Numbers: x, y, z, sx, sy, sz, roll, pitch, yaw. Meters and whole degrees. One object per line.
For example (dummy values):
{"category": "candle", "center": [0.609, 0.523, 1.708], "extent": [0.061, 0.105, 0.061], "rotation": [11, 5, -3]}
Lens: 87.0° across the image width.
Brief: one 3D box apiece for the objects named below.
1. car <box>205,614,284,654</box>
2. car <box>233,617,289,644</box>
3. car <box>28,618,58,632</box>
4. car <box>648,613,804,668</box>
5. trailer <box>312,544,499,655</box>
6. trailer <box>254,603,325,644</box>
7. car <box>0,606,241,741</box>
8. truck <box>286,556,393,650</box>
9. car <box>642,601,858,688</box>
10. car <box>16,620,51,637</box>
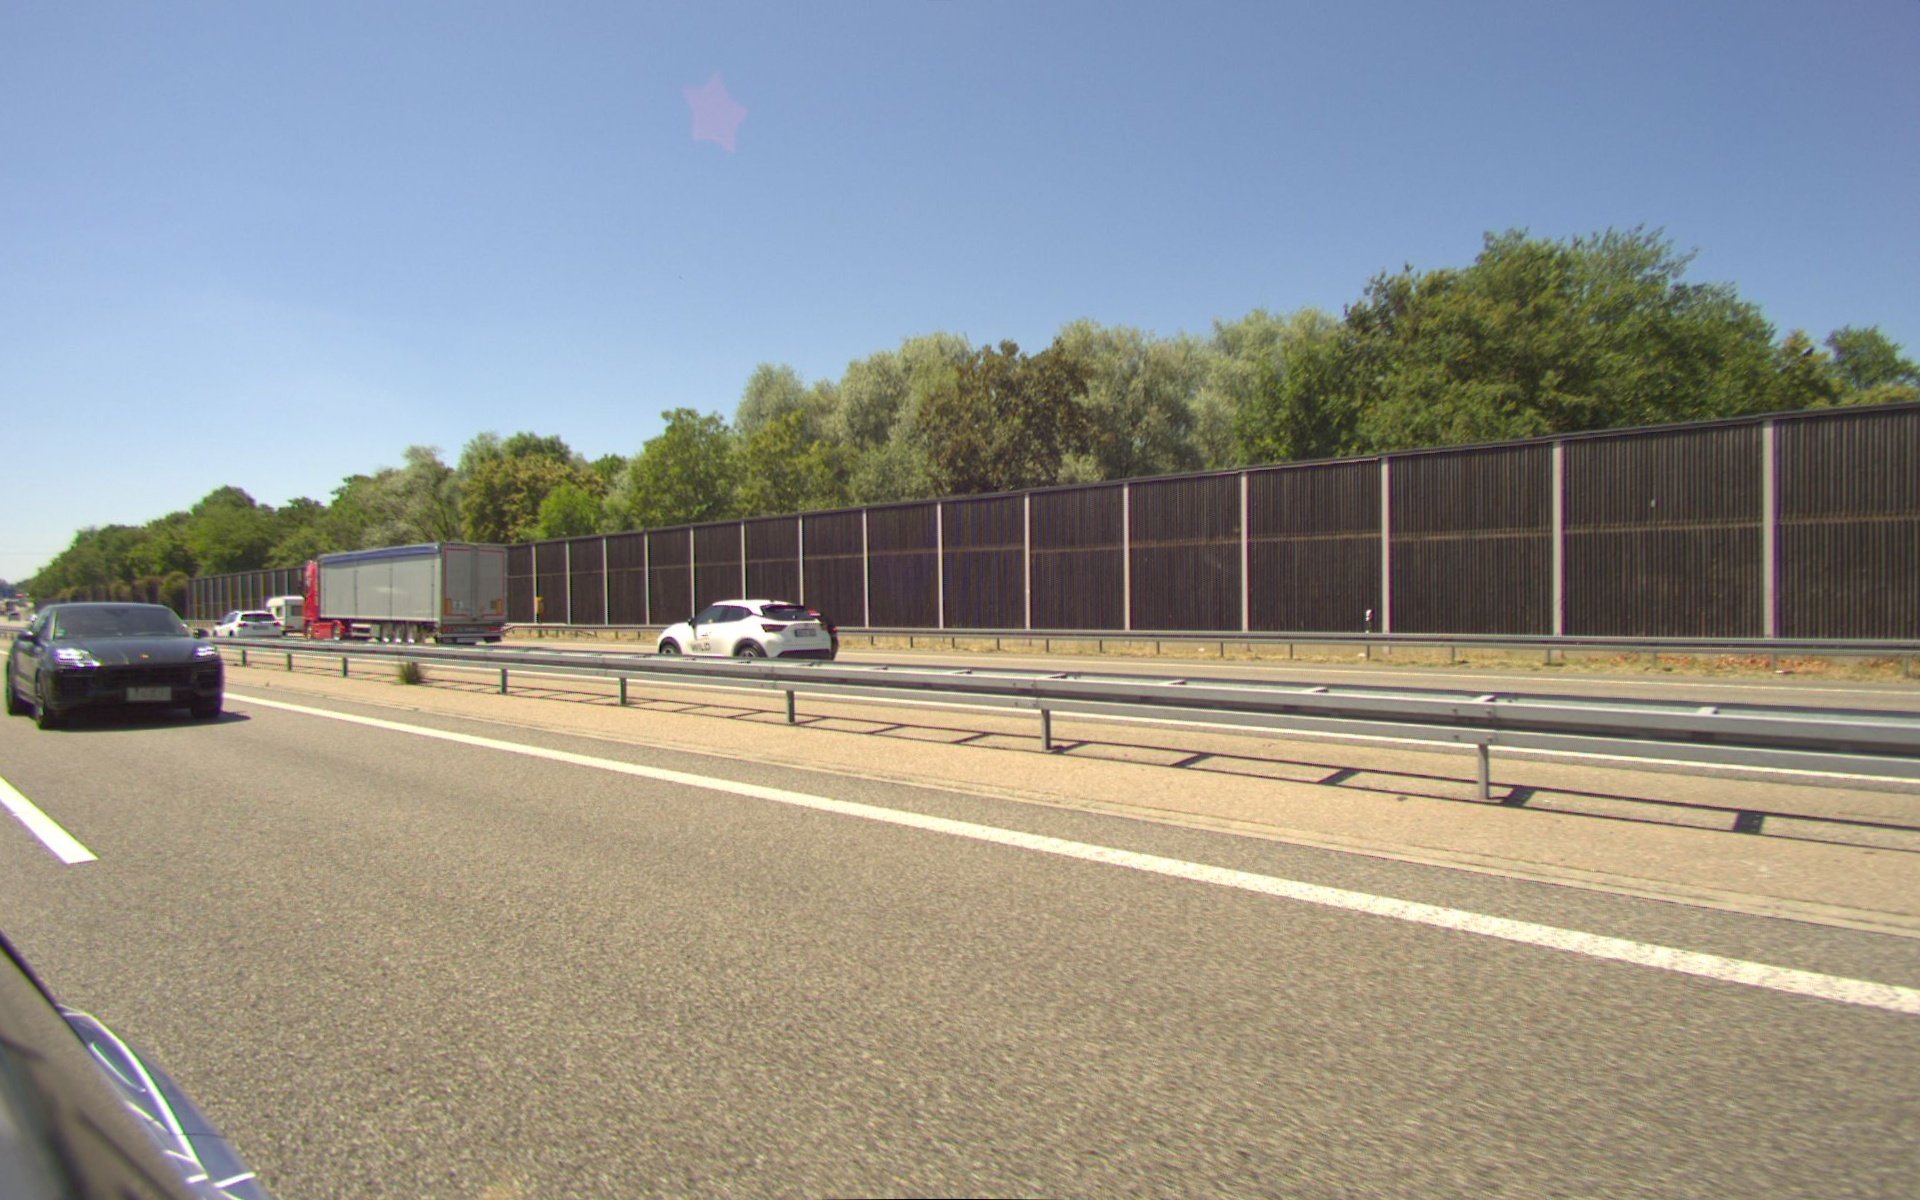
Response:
{"category": "car", "center": [-29.907, 1.403, 42.270], "extent": [4.244, 1.555, 1.786], "rotation": [-1, -1, 41]}
{"category": "car", "center": [-46.473, 1.991, 67.262], "extent": [4.903, 1.724, 1.879], "rotation": [-1, -1, 40]}
{"category": "car", "center": [-107.419, 2.950, 118.567], "extent": [5.981, 1.534, 2.101], "rotation": [-1, -1, 43]}
{"category": "car", "center": [-6.534, 1.079, 28.039], "extent": [4.579, 1.385, 1.899], "rotation": [-1, -1, 41]}
{"category": "trailer", "center": [-23.868, 0.098, 42.901], "extent": [14.203, 4.107, 2.316], "rotation": [-1, -1, 42]}
{"category": "trailer", "center": [-42.233, 1.483, 63.660], "extent": [6.264, 2.495, 2.109], "rotation": [-1, -1, 41]}
{"category": "car", "center": [-12.664, 0.944, 14.988], "extent": [5.769, 1.637, 2.022], "rotation": [-1, -1, 41]}
{"category": "truck", "center": [-29.370, 0.186, 47.798], "extent": [7.150, 4.107, 2.333], "rotation": [-1, -1, 42]}
{"category": "car", "center": [-4.304, 0.826, 20.284], "extent": [4.580, 1.558, 1.899], "rotation": [-1, -1, 42]}
{"category": "car", "center": [-82.844, 2.541, 90.495], "extent": [4.416, 1.532, 1.879], "rotation": [-1, -1, 41]}
